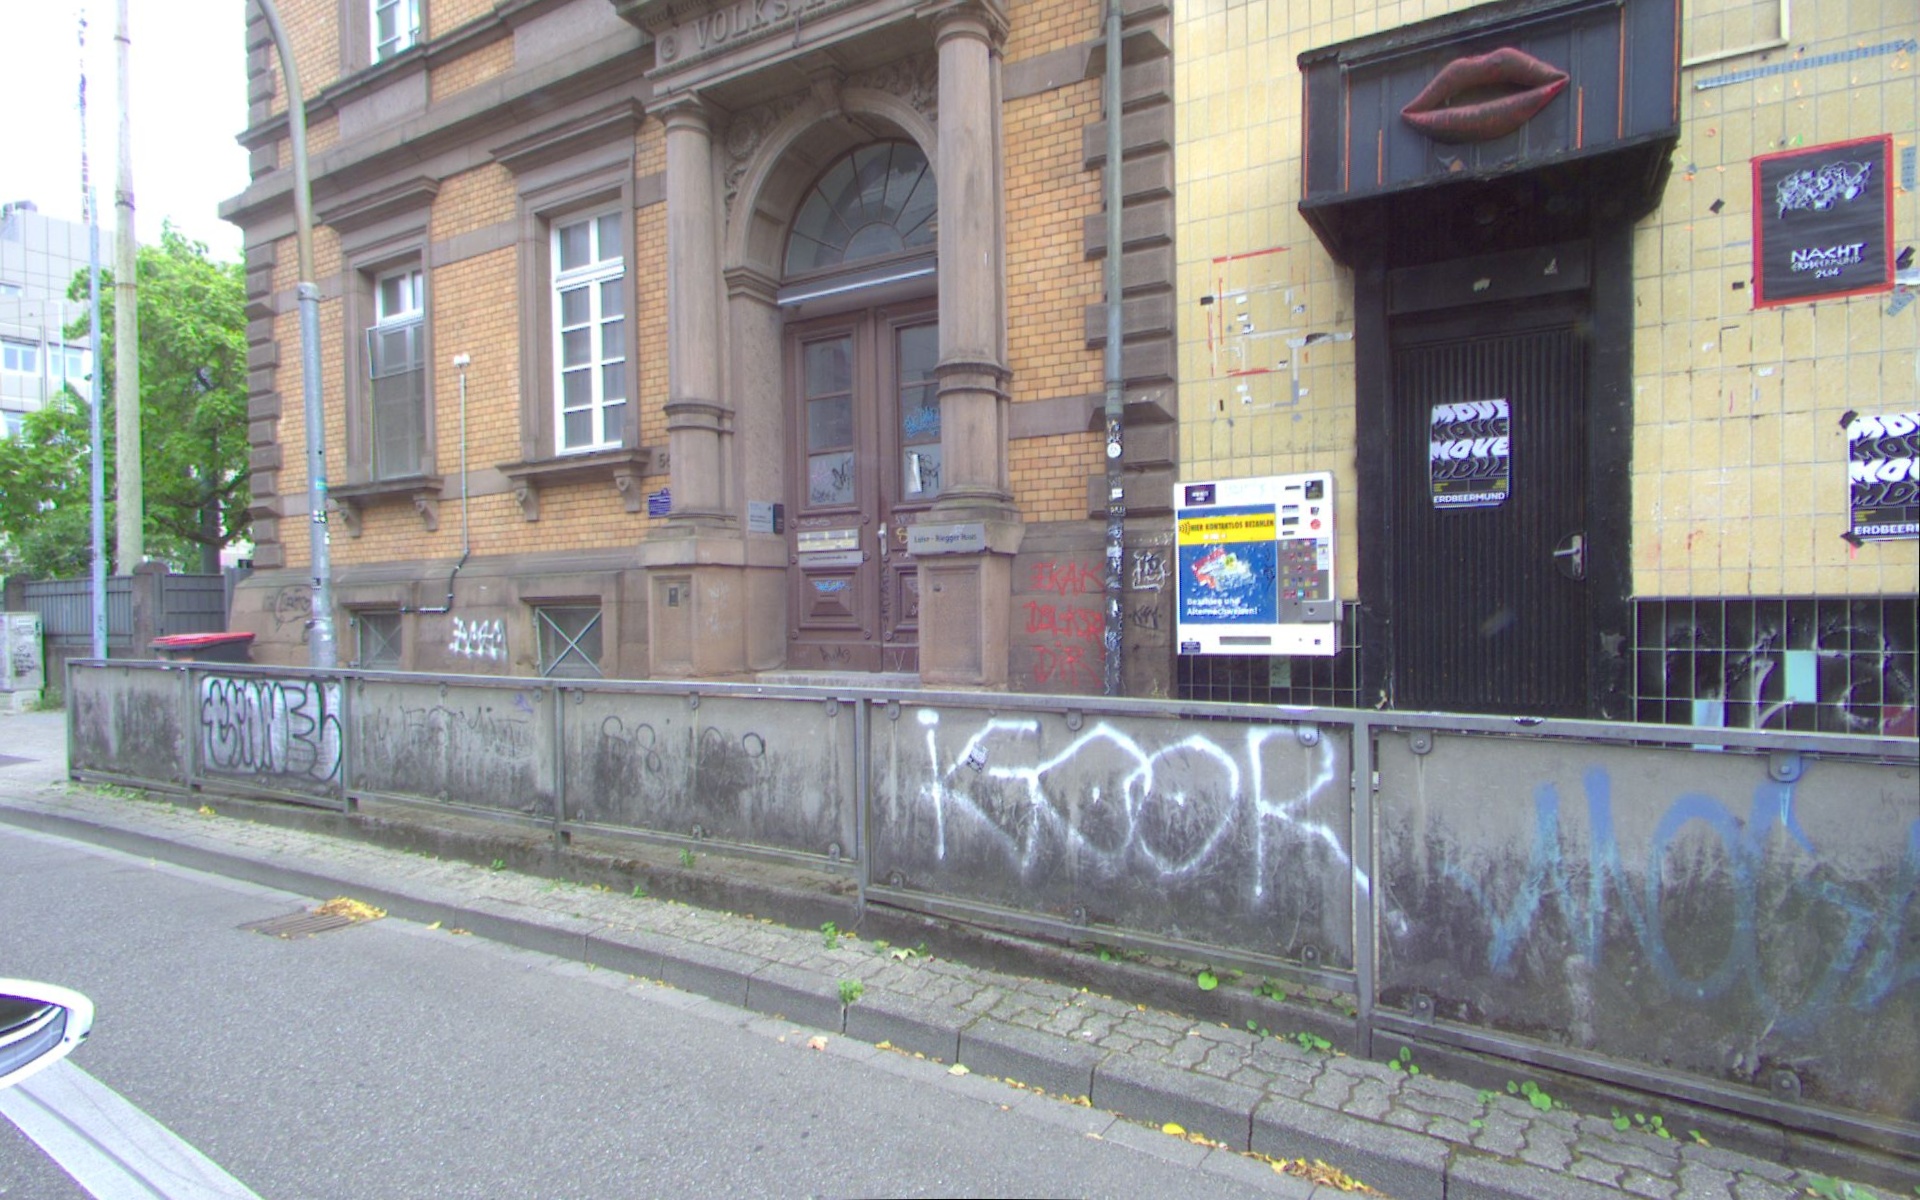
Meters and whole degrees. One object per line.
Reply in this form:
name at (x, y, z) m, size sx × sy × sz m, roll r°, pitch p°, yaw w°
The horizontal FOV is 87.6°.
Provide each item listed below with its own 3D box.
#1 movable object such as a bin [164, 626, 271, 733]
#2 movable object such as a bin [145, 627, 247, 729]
movable object such as a bin at (-8.324, 0.871, 11.233) m, size 0.690 × 1.097 × 0.662 m, roll -1°, pitch 4°, yaw 27°
movable object such as a bin at (-8.888, 0.892, 11.663) m, size 0.667 × 1.097 × 0.650 m, roll -1°, pitch 4°, yaw 27°
